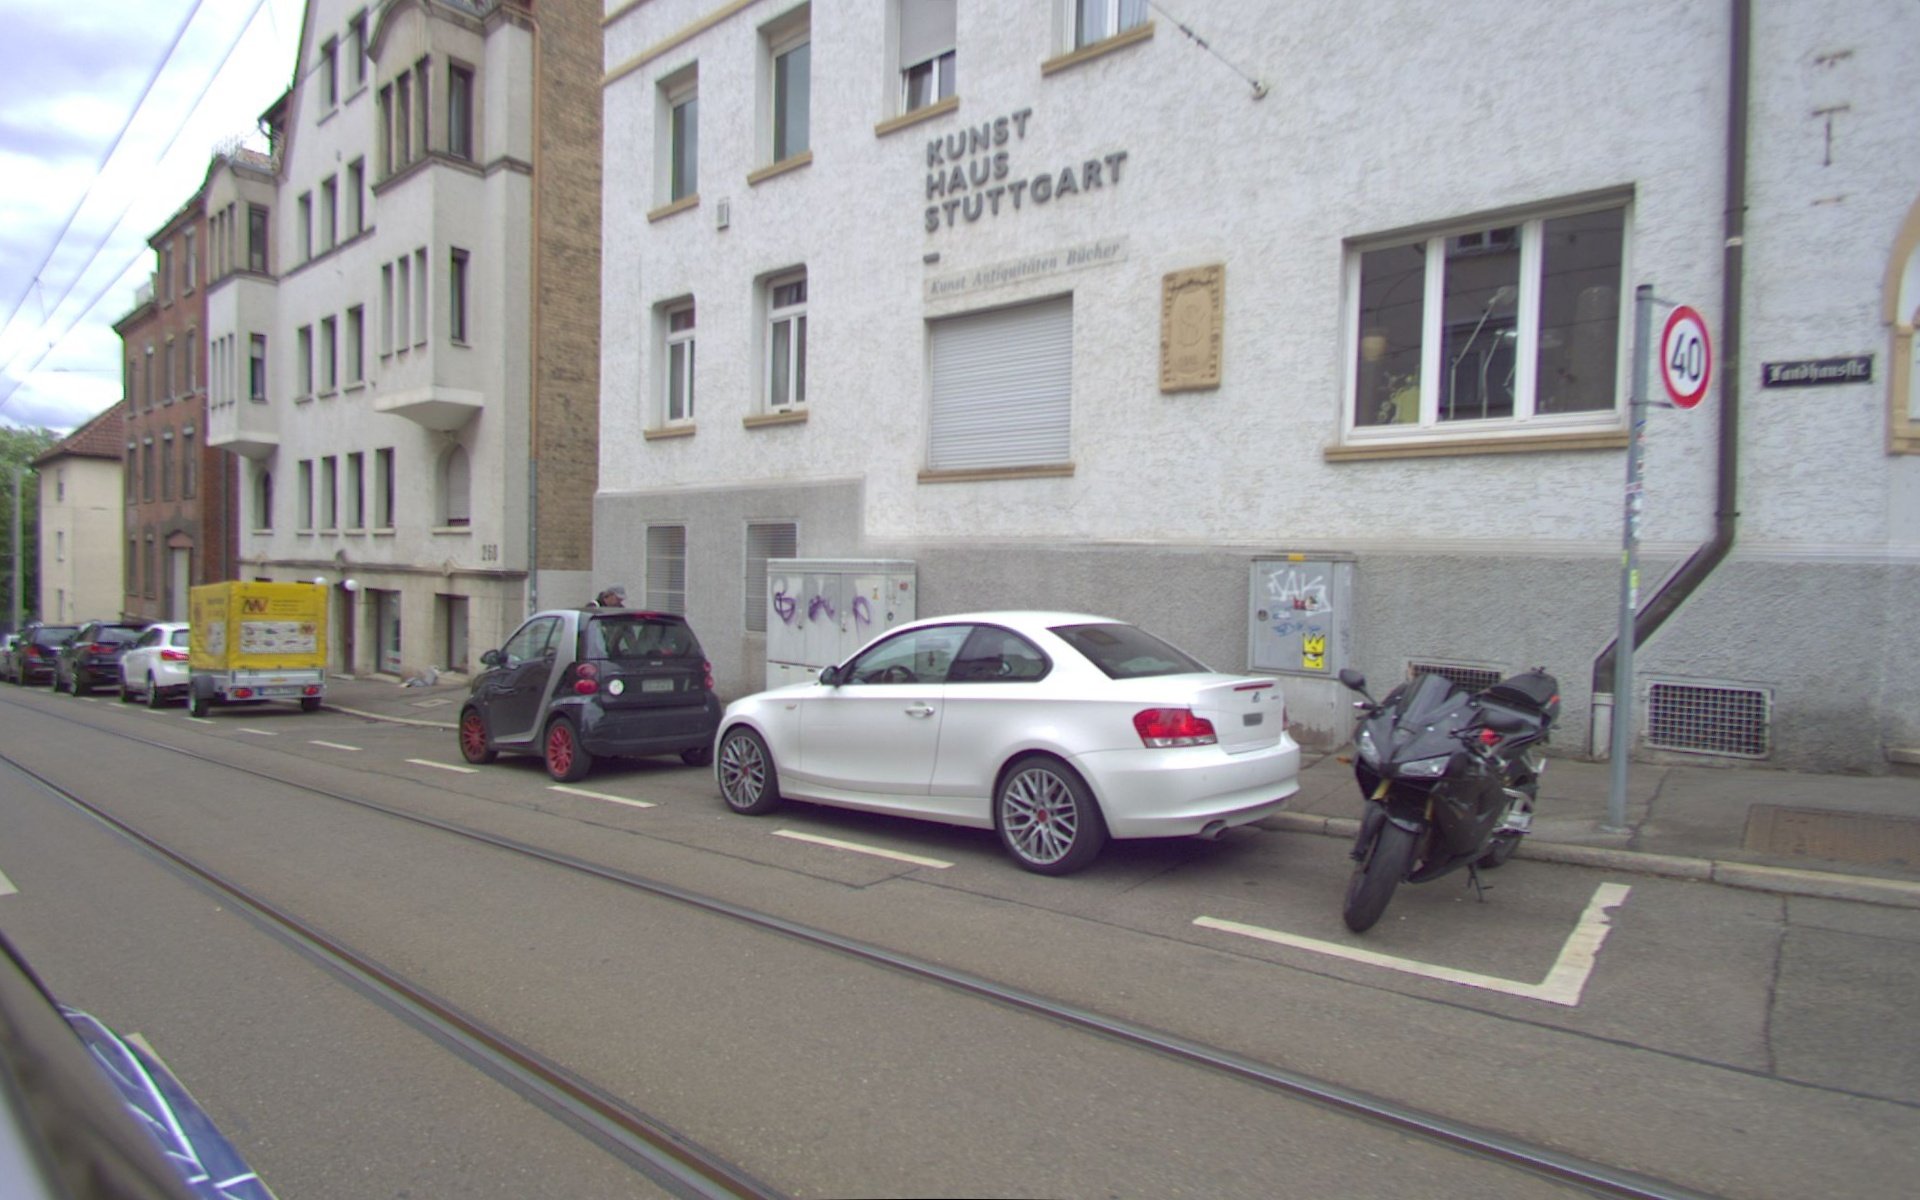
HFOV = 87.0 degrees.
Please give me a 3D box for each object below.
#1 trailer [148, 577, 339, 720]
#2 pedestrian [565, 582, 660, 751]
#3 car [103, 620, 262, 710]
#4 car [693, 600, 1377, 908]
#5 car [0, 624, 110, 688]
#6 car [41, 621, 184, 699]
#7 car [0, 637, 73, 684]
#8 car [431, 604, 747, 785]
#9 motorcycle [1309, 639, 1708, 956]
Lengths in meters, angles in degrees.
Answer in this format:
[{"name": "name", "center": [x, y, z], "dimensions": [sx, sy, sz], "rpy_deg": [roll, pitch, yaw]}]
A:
[{"name": "trailer", "center": [-12.347, 0.830, 17.353], "dimensions": [4.069, 2.172, 1.730], "rpy_deg": [-3, -3, 41]}, {"name": "pedestrian", "center": [-4.169, 0.772, 12.134], "dimensions": [0.810, 1.919, 0.583], "rpy_deg": [-1, 5, 40]}, {"name": "car", "center": [-15.478, 1.249, 20.067], "dimensions": [4.266, 1.606, 1.679], "rpy_deg": [-3, -3, 41]}, {"name": "car", "center": [0.225, 0.739, 6.639], "dimensions": [4.290, 1.367, 1.761], "rpy_deg": [-2, -1, 42]}, {"name": "car", "center": [-26.507, 1.619, 29.556], "dimensions": [4.910, 1.731, 1.808], "rpy_deg": [-3, -3, 41]}, {"name": "car", "center": [-20.171, 1.394, 24.013], "dimensions": [4.889, 1.677, 1.854], "rpy_deg": [-3, -3, 41]}, {"name": "car", "center": [-30.607, 1.957, 33.069], "dimensions": [4.836, 1.440, 1.808], "rpy_deg": [-2, -3, 41]}, {"name": "car", "center": [-3.710, 0.836, 9.976], "dimensions": [3.022, 1.480, 1.679], "rpy_deg": [-2, -3, 41]}, {"name": "motorcycle", "center": [2.589, 0.767, 4.675], "dimensions": [2.080, 1.143, 0.768], "rpy_deg": [1, -2, -36]}]
